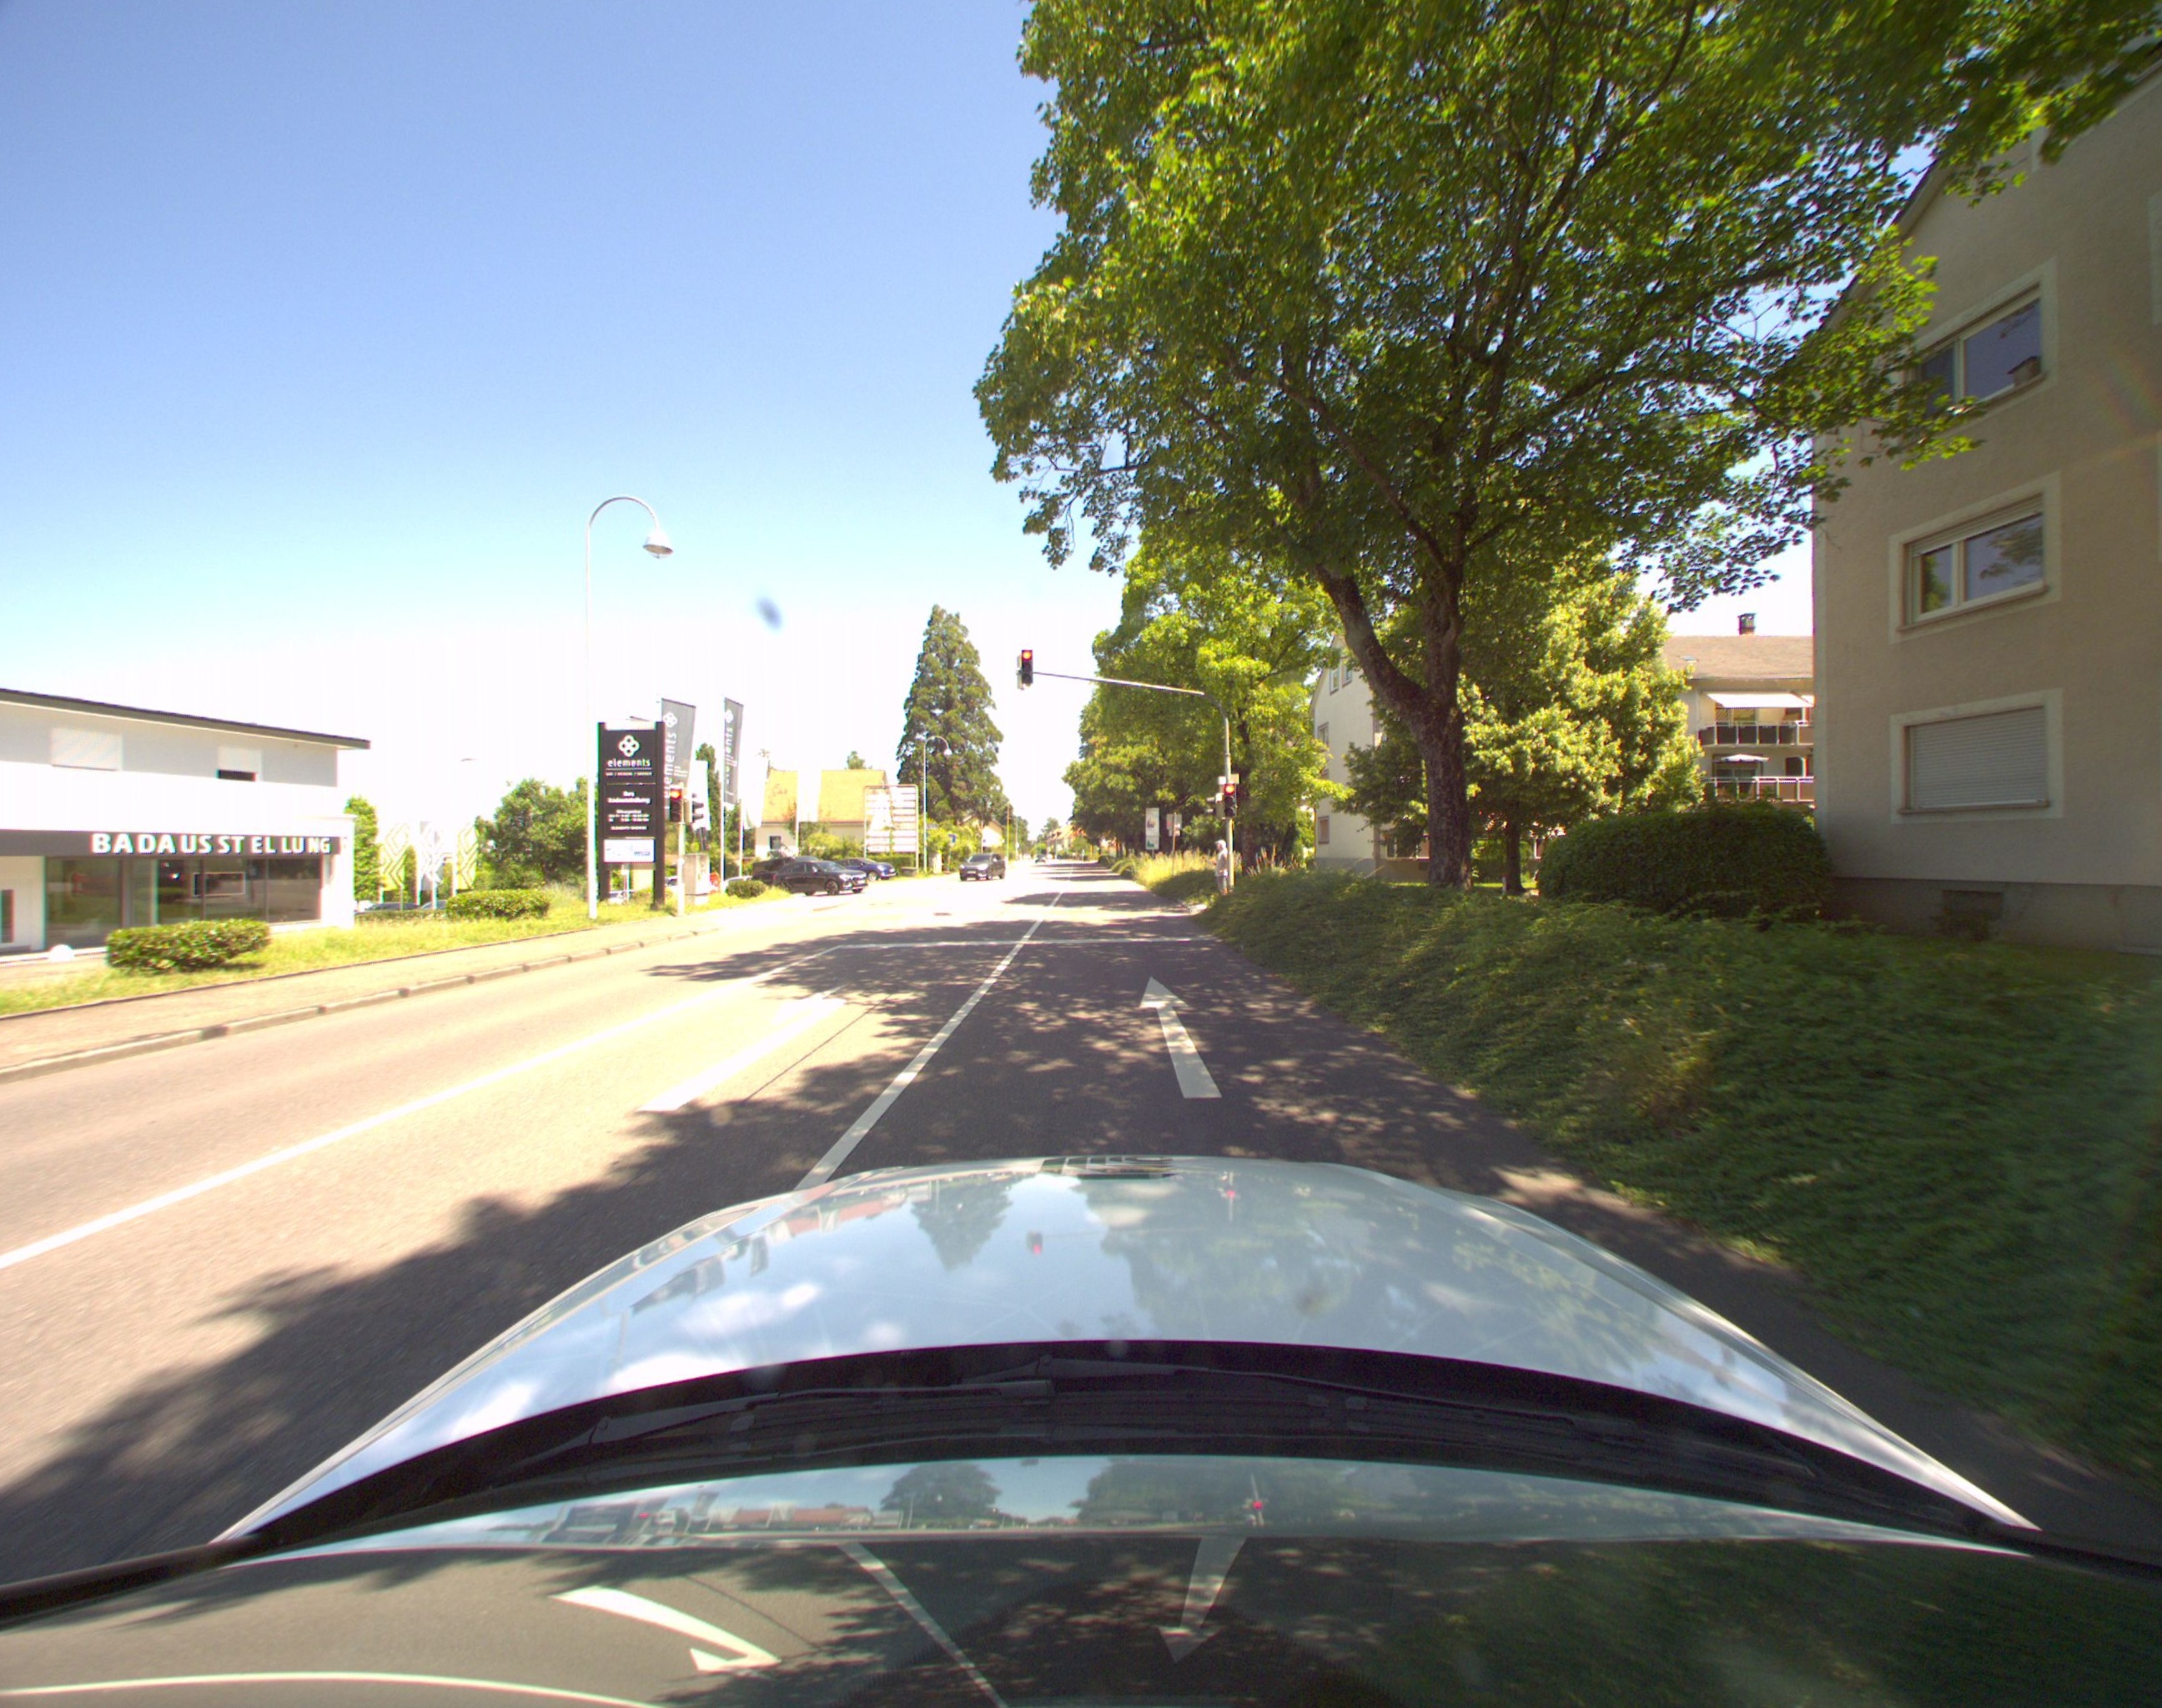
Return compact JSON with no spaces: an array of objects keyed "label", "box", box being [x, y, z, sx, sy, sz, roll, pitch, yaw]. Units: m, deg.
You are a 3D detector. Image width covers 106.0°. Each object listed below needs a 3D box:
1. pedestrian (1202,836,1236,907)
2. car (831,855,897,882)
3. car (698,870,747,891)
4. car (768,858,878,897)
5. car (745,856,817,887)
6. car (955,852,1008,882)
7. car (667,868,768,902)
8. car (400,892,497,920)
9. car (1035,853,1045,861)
[{"label":"pedestrian","box":[3.457,0.438,20.430,0.563,1.751,0.610,0,-1,-25]},{"label":"car","box":[-12.775,0.836,48.171,3.485,1.427,1.598,-2,0,-5]},{"label":"car","box":[-22.556,1.658,51.385,1.743,1.226,3.241,-1,0,-2]},{"label":"car","box":[-11.418,1.019,36.059,4.256,1.526,1.938,-3,-1,20]},{"label":"car","box":[-16.936,0.986,46.126,3.485,1.617,1.598,-2,0,-5]},{"label":"car","box":[-5.987,0.758,49.501,1.867,1.717,4.323,-1,0,11]},{"label":"car","box":[-17.961,1.527,40.470,4.304,1.487,1.990,-1,0,-16]},{"label":"car","box":[-34.687,2.850,44.726,3.973,1.413,1.757,-1,-1,1]},{"label":"car","box":[-6.847,0.557,137.263,1.425,1.322,3.356,-1,0,2]}]
